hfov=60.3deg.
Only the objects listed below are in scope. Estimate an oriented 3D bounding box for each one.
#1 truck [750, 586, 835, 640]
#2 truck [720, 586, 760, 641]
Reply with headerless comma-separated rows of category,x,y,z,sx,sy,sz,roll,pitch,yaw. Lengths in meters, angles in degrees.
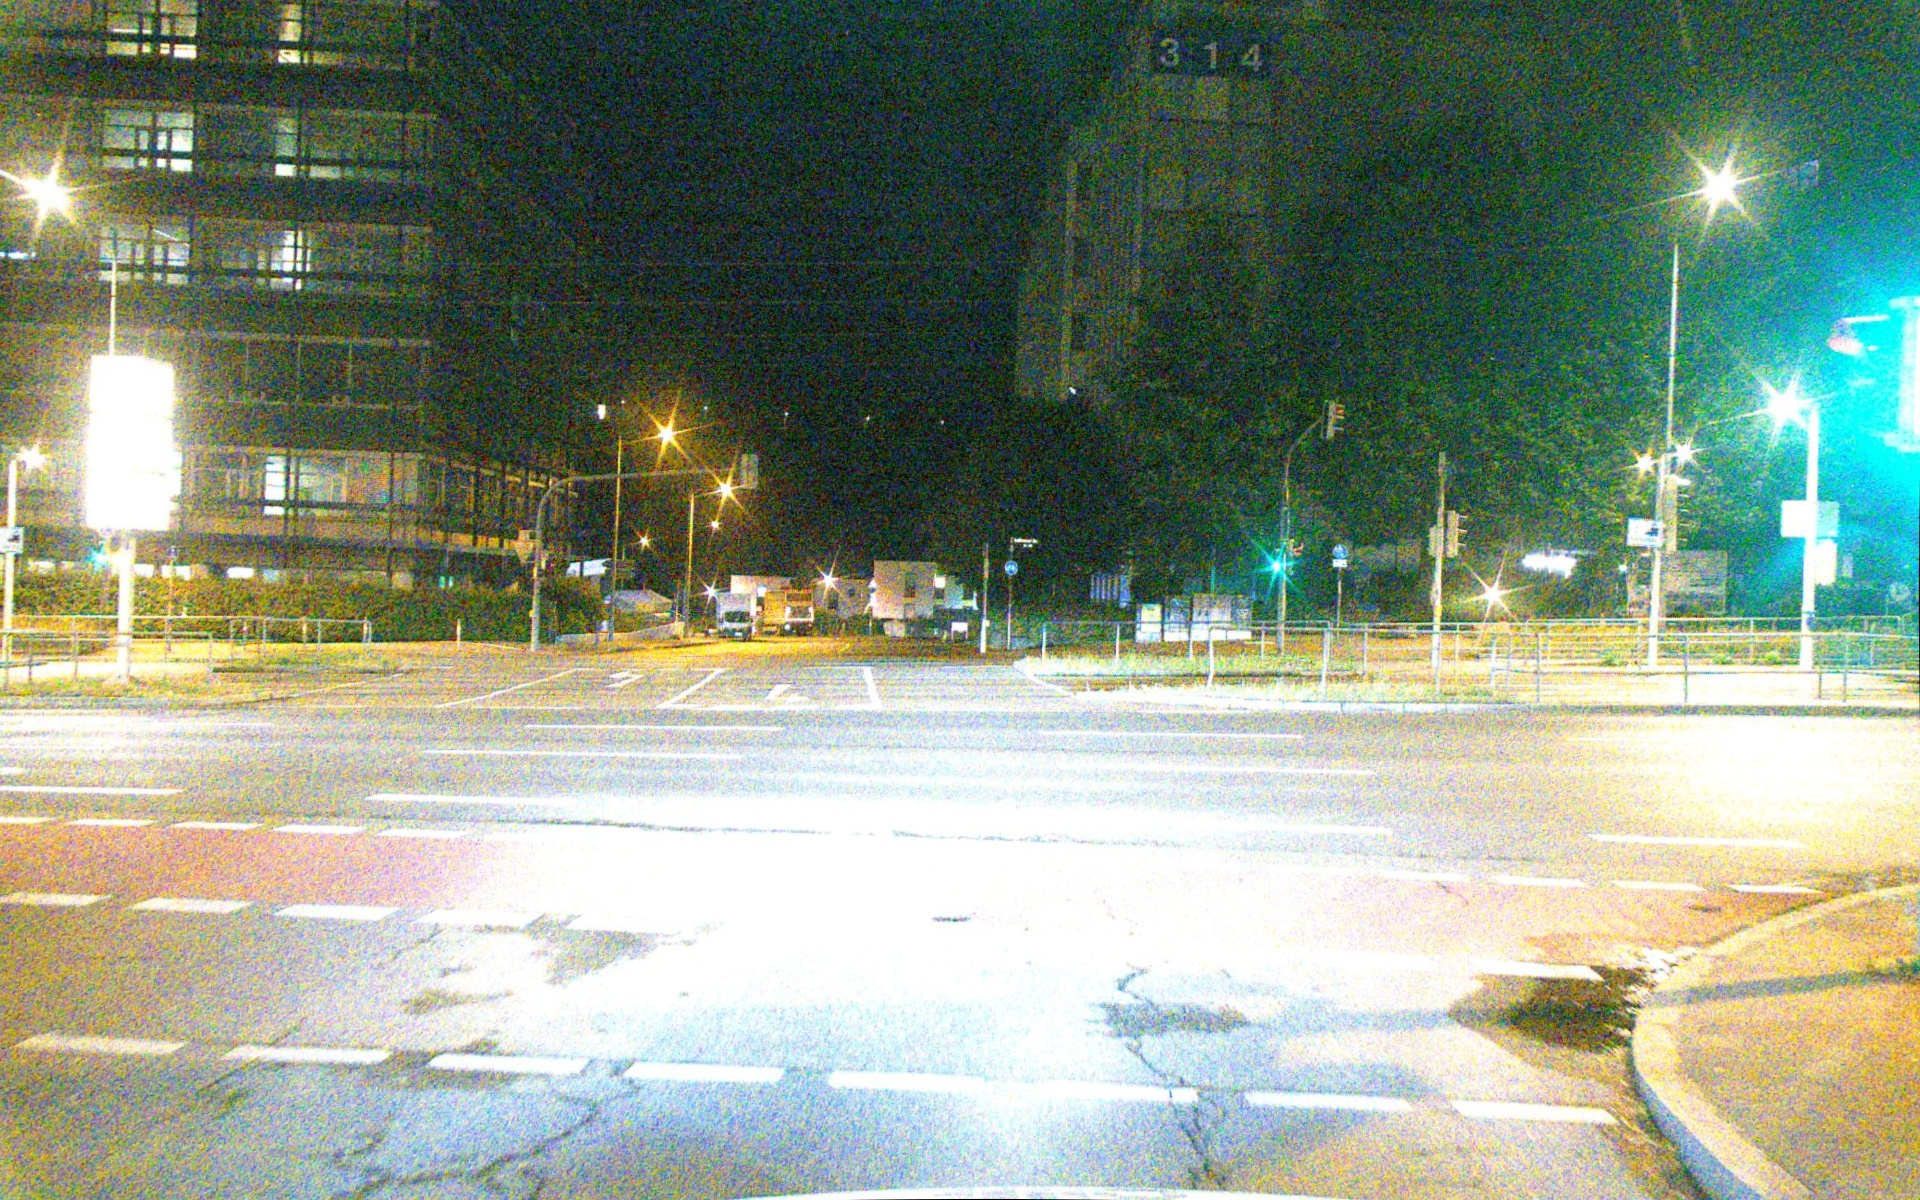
truck,-15.270,1.124,149.397,4.751,4.626,12.593,1,0,-20
truck,-15.603,0.958,117.241,2.535,3.772,5.724,1,0,-10
